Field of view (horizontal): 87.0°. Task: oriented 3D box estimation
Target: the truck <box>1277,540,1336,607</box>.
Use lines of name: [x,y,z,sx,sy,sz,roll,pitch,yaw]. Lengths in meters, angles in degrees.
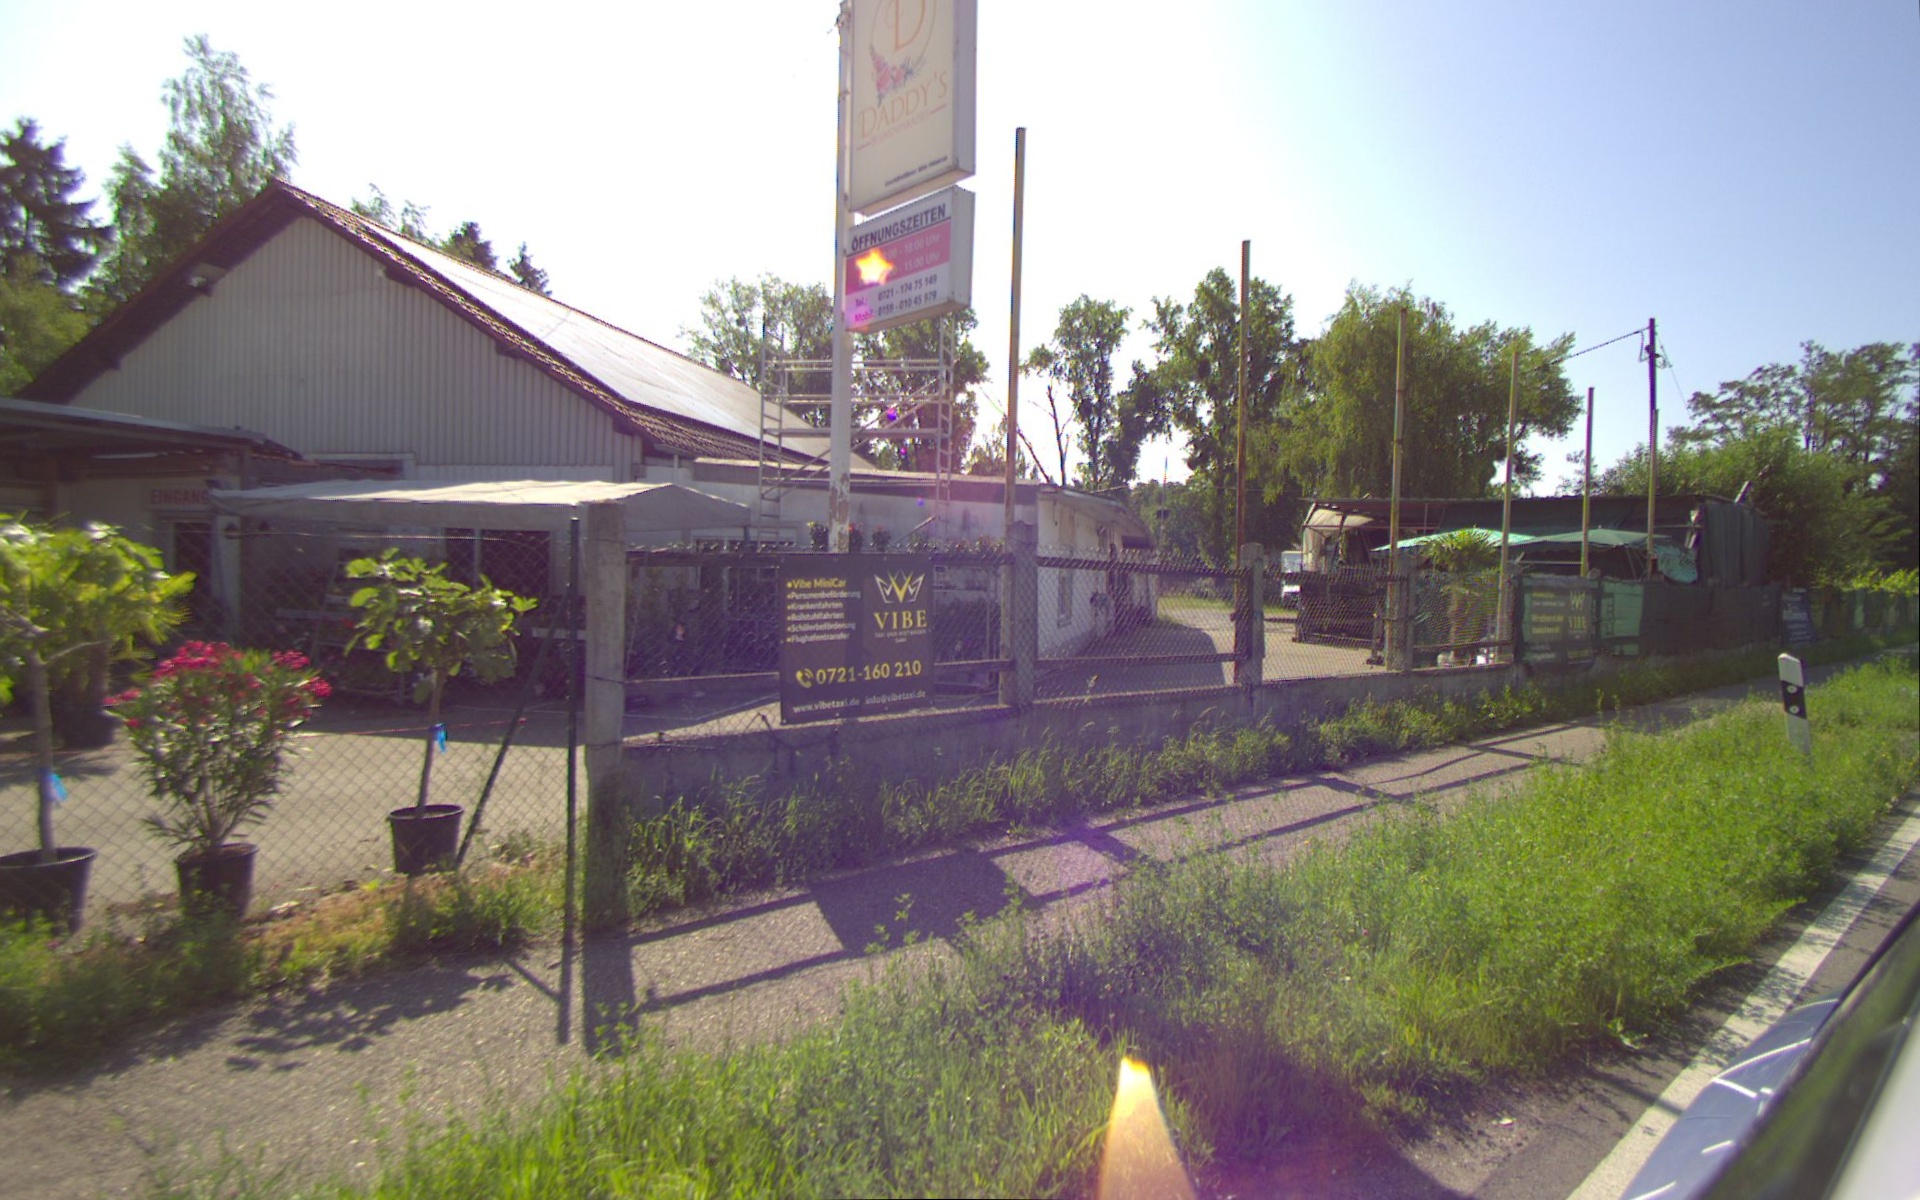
truck: [19.575,-1.409,56.884,2.721,3.507,7.692,0,0,22]
